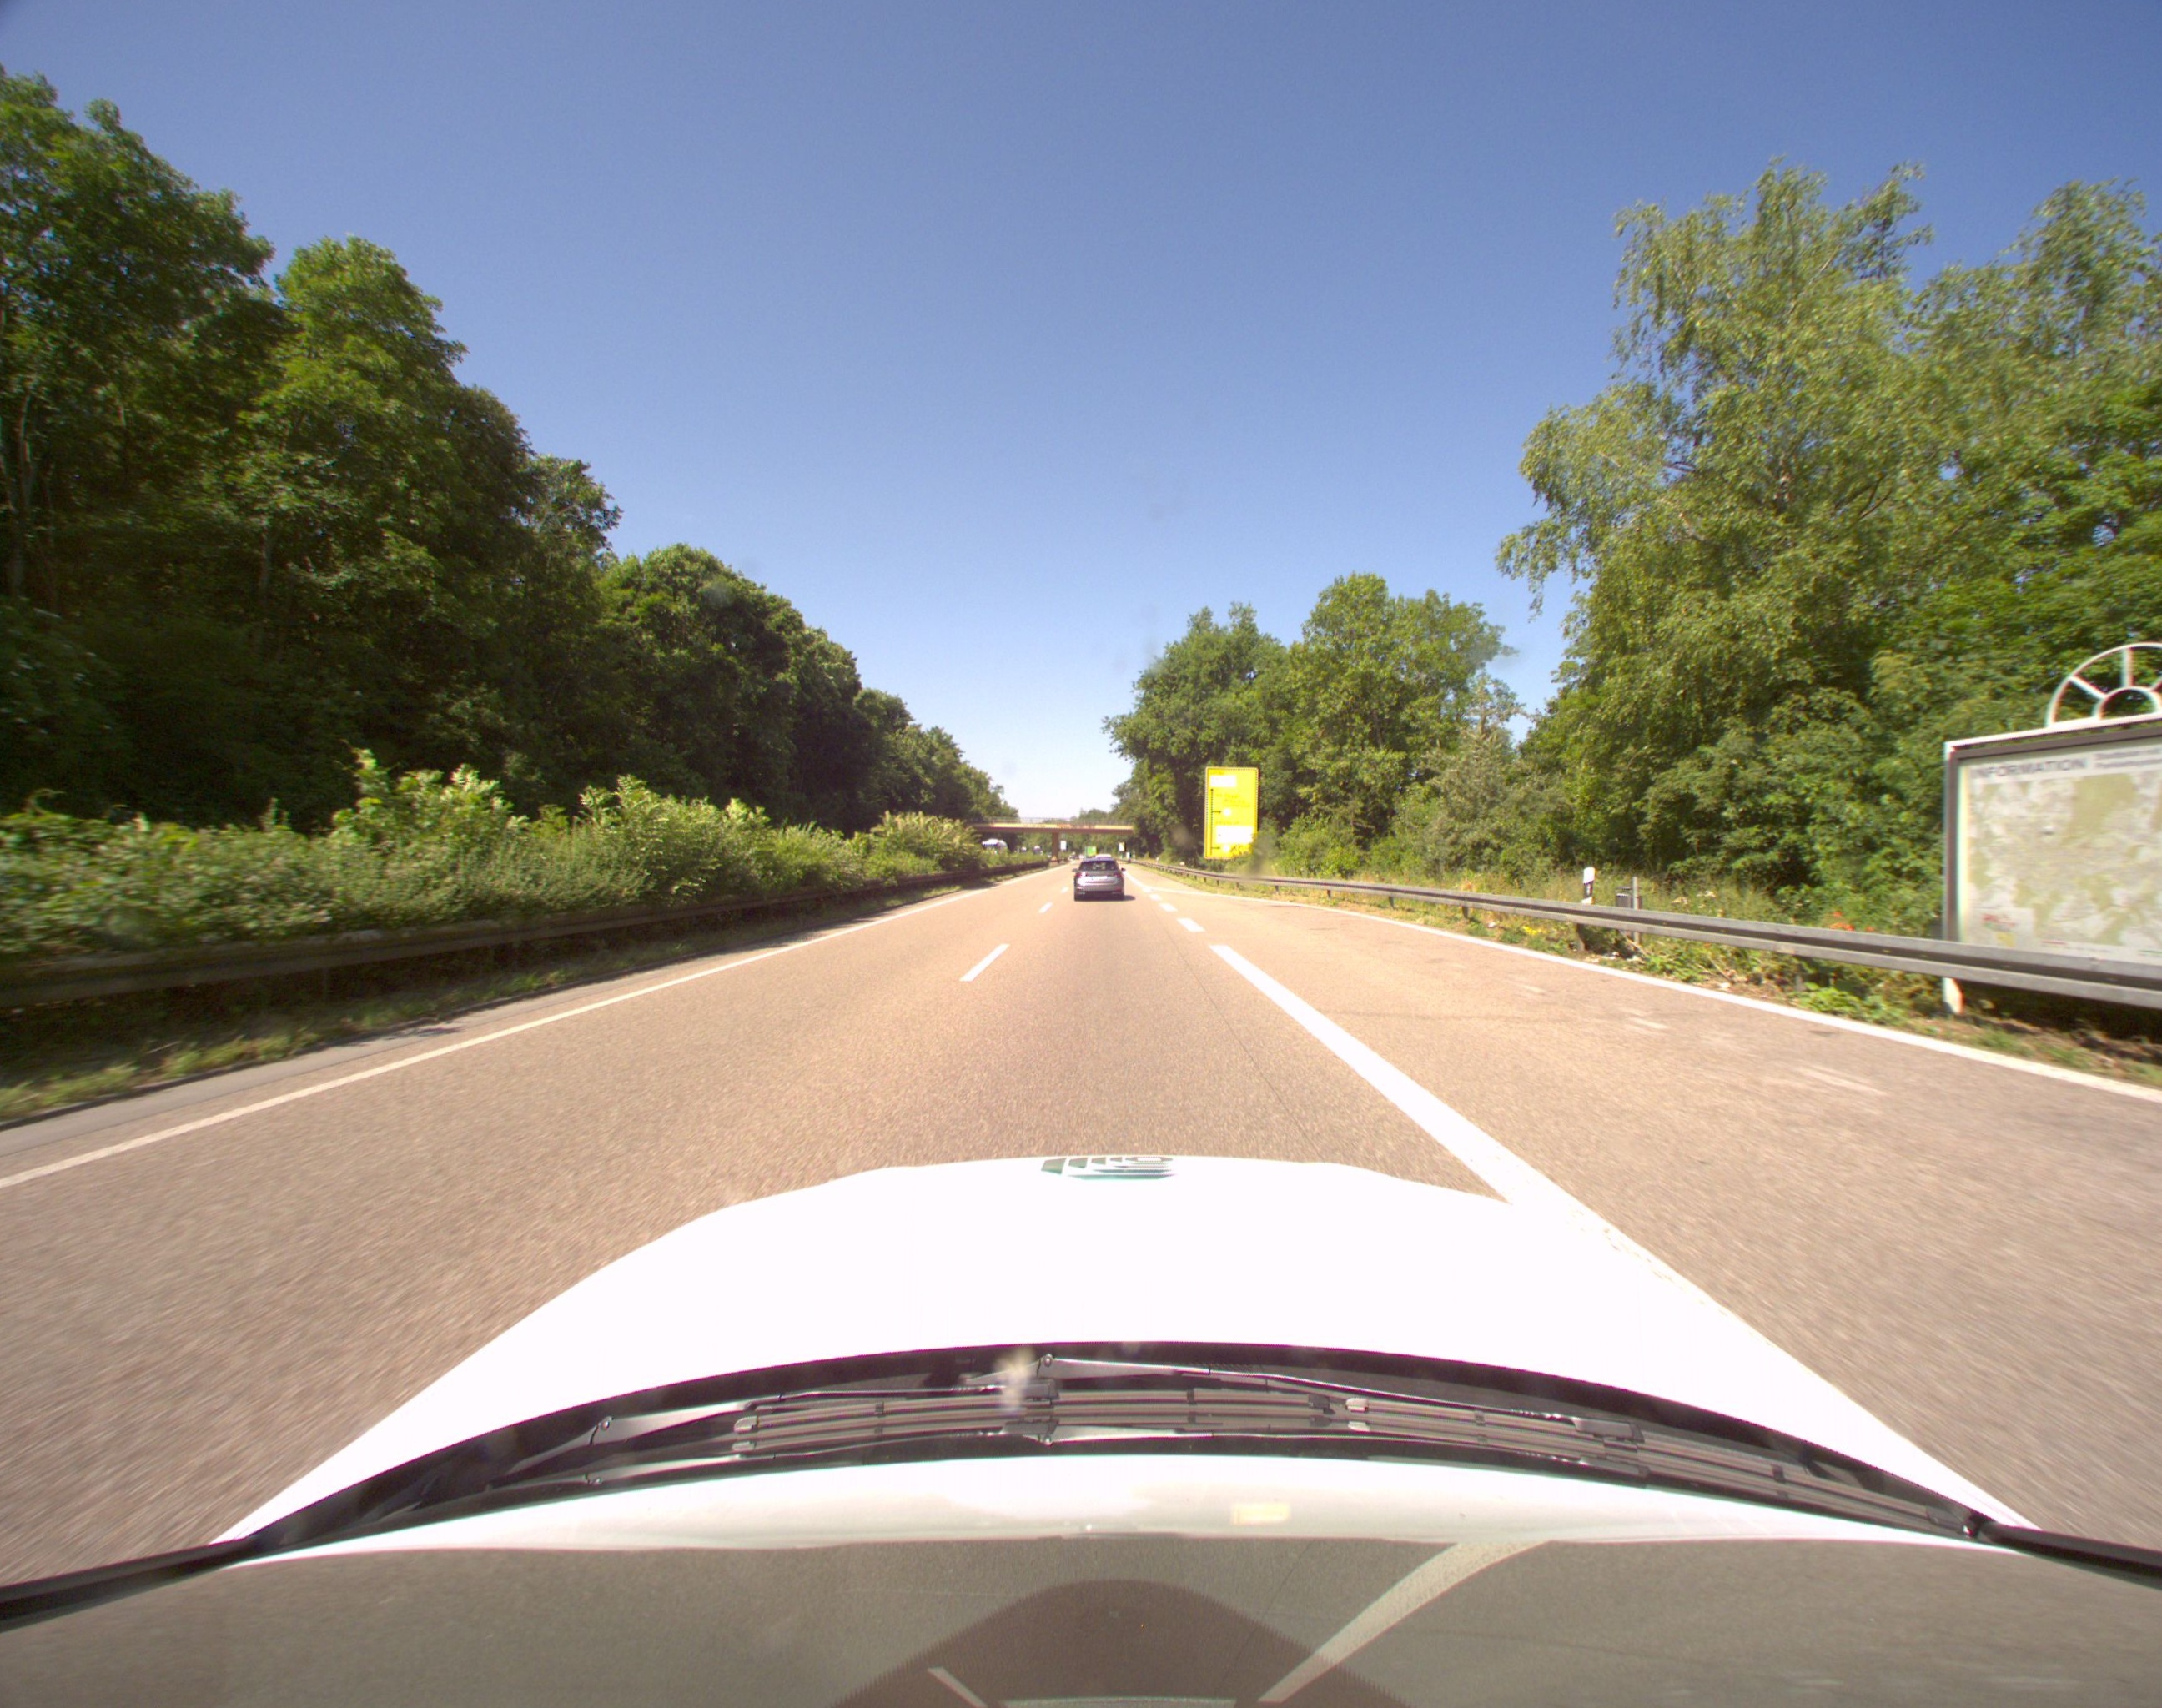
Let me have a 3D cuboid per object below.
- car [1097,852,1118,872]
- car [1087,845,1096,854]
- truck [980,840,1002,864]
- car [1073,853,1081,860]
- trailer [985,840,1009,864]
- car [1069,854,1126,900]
[{"bbox_3d":[2.030,0.546,61.119,1.516,1.446,3.343,0,0,3],"label":"car"},{"bbox_3d":[3.161,-1.319,239.477,2.738,2.654,4.001,0,0,1],"label":"car"},{"bbox_3d":[-12.484,-0.247,112.992,2.330,3.342,4.543,0,0,2],"label":"truck"},{"bbox_3d":[-1.171,0.857,240.347,1.986,2.013,4.001,0,0,2],"label":"car"},{"bbox_3d":[-12.281,-0.276,119.715,1.986,3.402,11.423,0,0,2],"label":"trailer"},{"bbox_3d":[0.629,0.755,28.201,1.832,1.472,3.626,0,0,3],"label":"car"}]
